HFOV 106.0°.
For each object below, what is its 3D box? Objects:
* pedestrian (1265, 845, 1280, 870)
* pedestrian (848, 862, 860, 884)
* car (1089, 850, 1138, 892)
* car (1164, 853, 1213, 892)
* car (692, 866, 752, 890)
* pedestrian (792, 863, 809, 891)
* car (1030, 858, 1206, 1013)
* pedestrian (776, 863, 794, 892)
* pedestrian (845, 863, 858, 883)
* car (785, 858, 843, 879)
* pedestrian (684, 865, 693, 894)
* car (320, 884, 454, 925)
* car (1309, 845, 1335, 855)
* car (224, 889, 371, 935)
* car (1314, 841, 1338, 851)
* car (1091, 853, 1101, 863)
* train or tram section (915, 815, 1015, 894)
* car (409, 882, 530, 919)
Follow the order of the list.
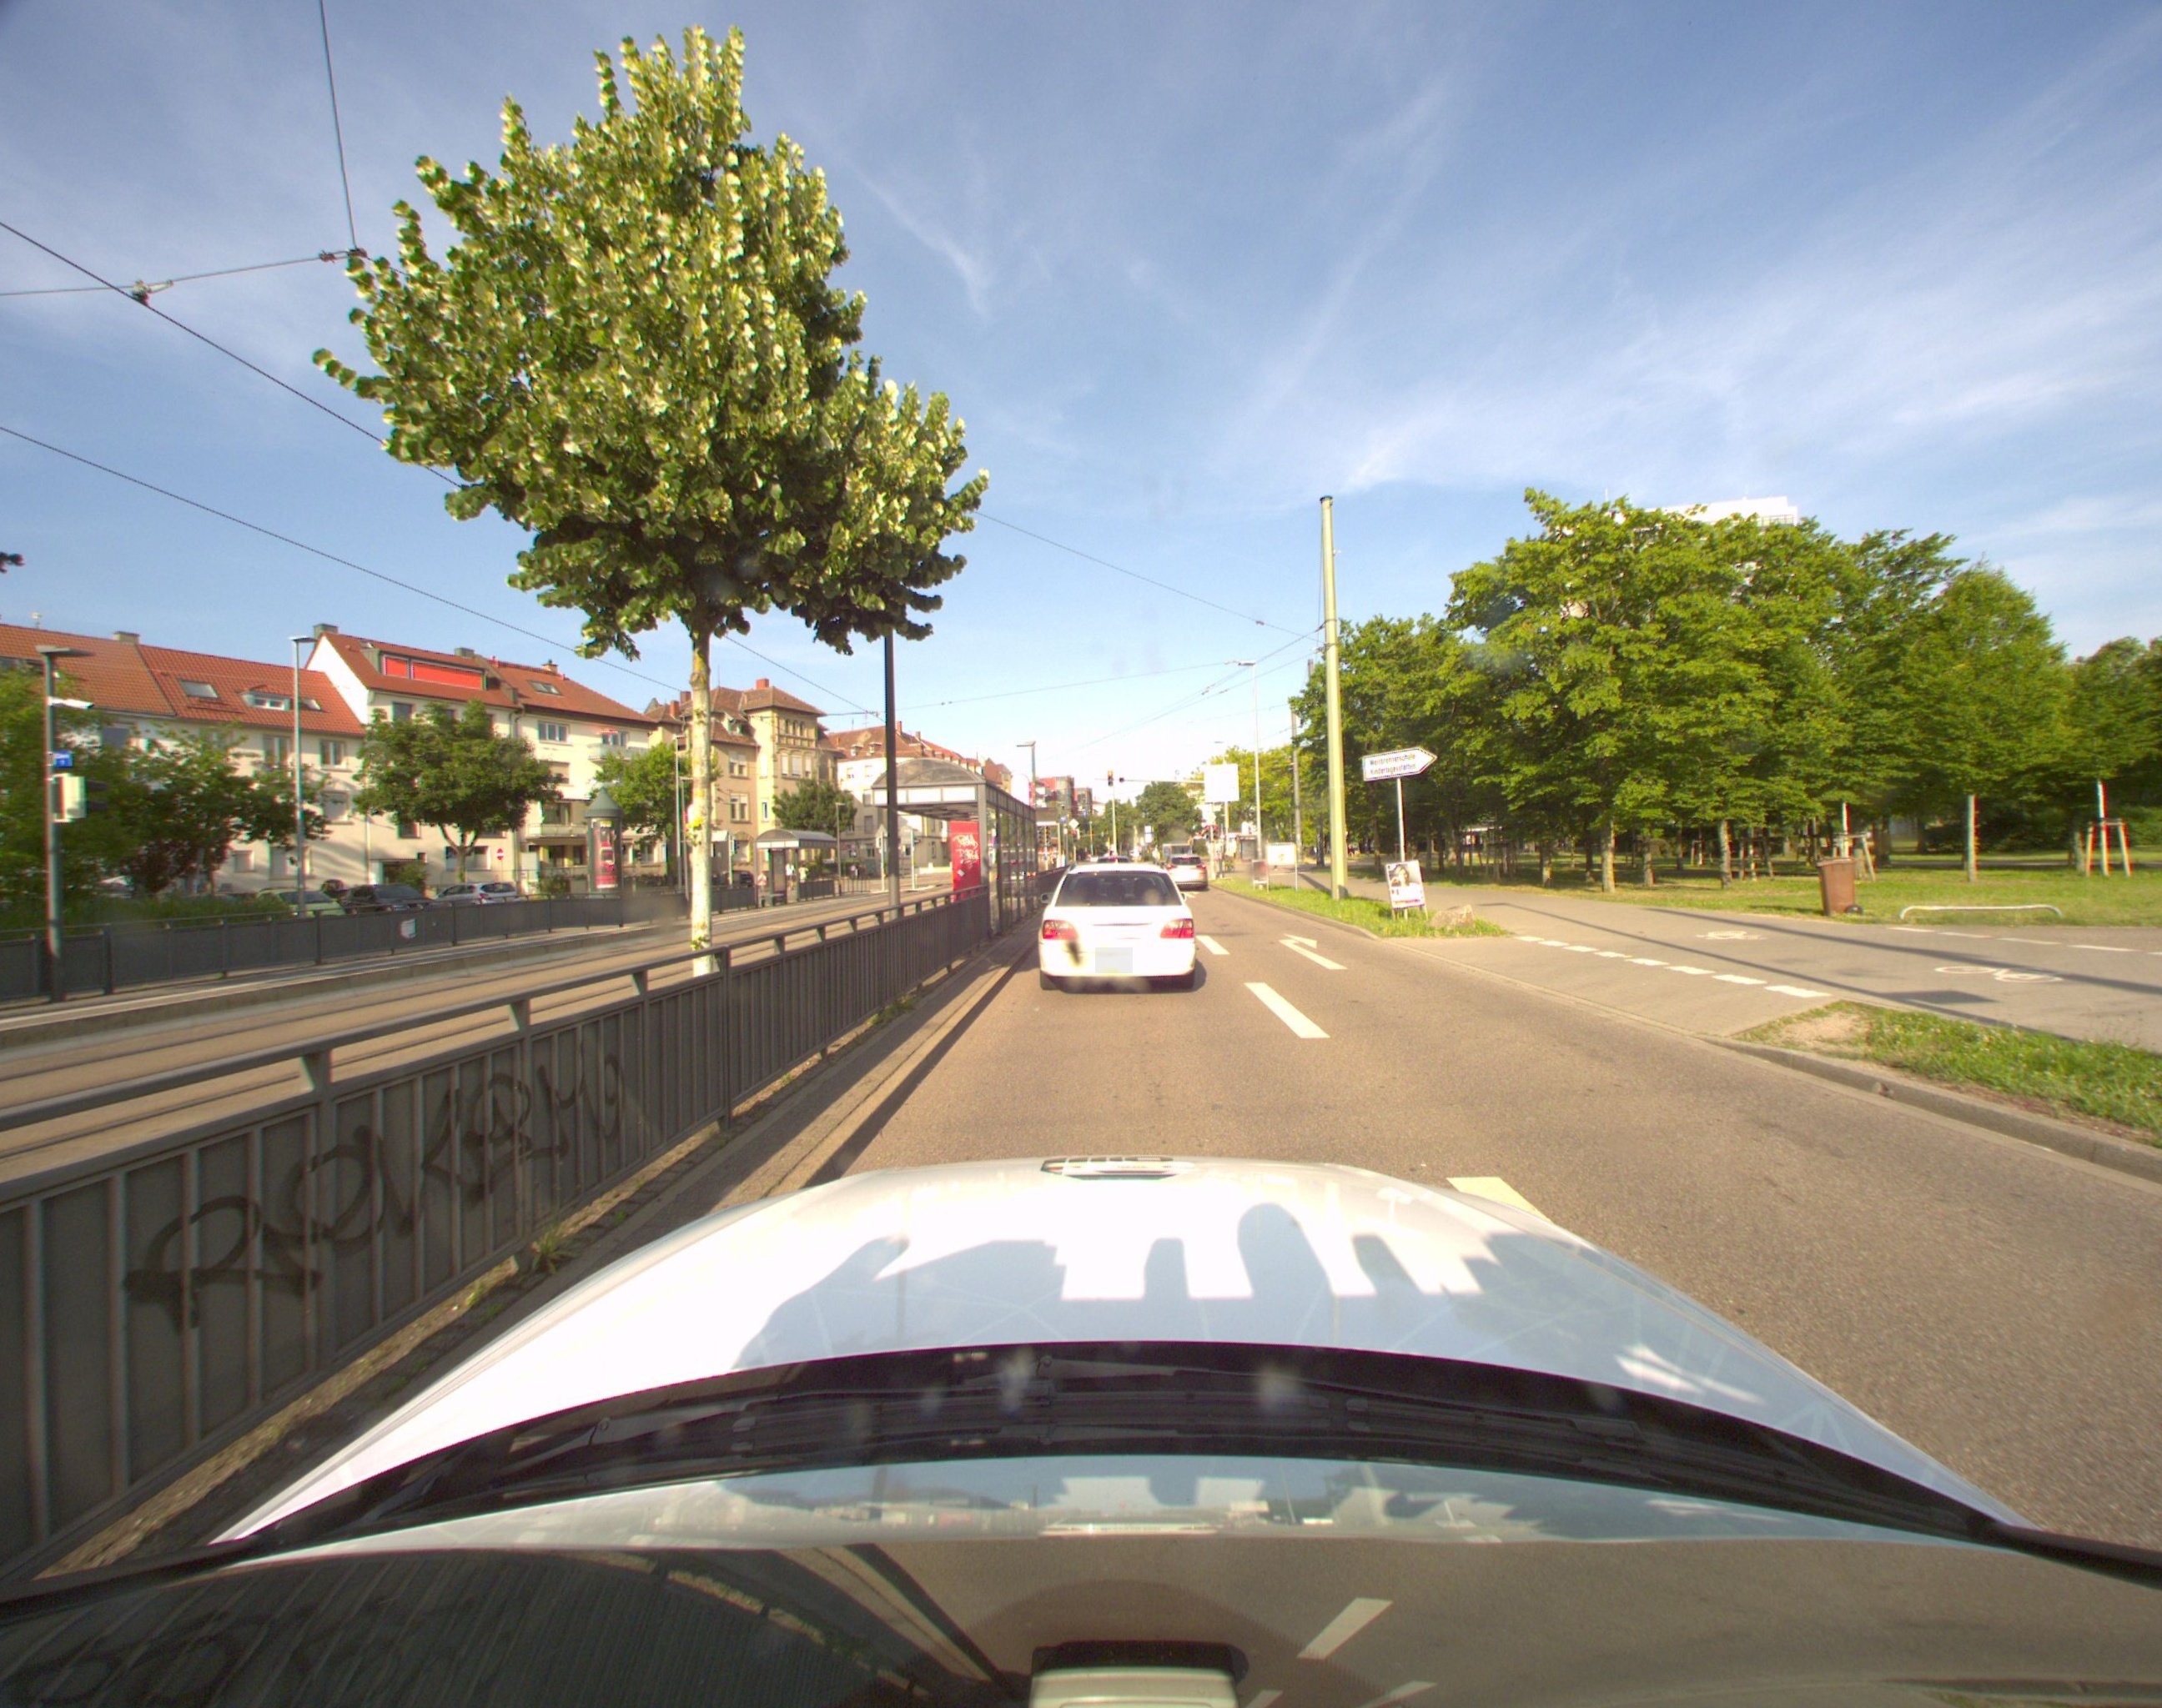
[{"bbox_3d":[12.825,0.245,54.513,0.881,1.652,0.748,-1,0,10],"label":"pedestrian"},{"bbox_3d":[-18.151,1.512,65.212,0.662,1.753,0.747,-1,0,6],"label":"pedestrian"},{"bbox_3d":[1.462,0.679,35.341,1.778,1.690,4.007,-1,0,6],"label":"car"},{"bbox_3d":[4.754,0.788,36.396,2.023,1.605,4.007,-1,0,6],"label":"car"},{"bbox_3d":[-28.175,1.846,63.895,3.954,1.750,2.010,-1,0,19],"label":"car"},{"bbox_3d":[-17.781,1.459,51.618,0.886,1.753,0.743,-1,0,-9],"label":"pedestrian"},{"bbox_3d":[0.356,0.850,10.451,1.753,1.503,3.998,-3,0,-1],"label":"car"},{"bbox_3d":[-18.679,1.481,51.457,0.886,1.753,0.744,-1,0,-8],"label":"pedestrian"},{"bbox_3d":[-20.331,1.709,72.231,0.882,1.753,0.747,-1,0,6],"label":"pedestrian"},{"bbox_3d":[-23.702,1.274,72.439,2.183,1.628,4.744,-1,0,25],"label":"car"},{"bbox_3d":[-27.856,1.829,57.763,0.379,2.013,0.410,-1,0,21],"label":"pedestrian"},{"bbox_3d":[-26.343,1.904,30.947,3.956,1.398,2.009,-1,0,16],"label":"car"},{"bbox_3d":[42.045,-0.727,142.259,4.006,1.651,1.984,-2,0,-25],"label":"car"},{"bbox_3d":[-27.380,2.008,28.489,3.955,1.398,2.009,-1,0,18],"label":"car"},{"bbox_3d":[44.447,-1.388,147.830,3.956,1.651,2.009,-3,0,16],"label":"car"},{"bbox_3d":[3.232,0.810,178.734,1.986,2.013,4.001,-3,0,2],"label":"car"},{"bbox_3d":[-5.709,-0.026,42.954,2.838,3.479,13.208,-1,0,2],"label":"train or tram section"},{"bbox_3d":[-25.300,1.919,33.742,3.956,1.398,2.009,-1,0,16],"label":"car"}]
